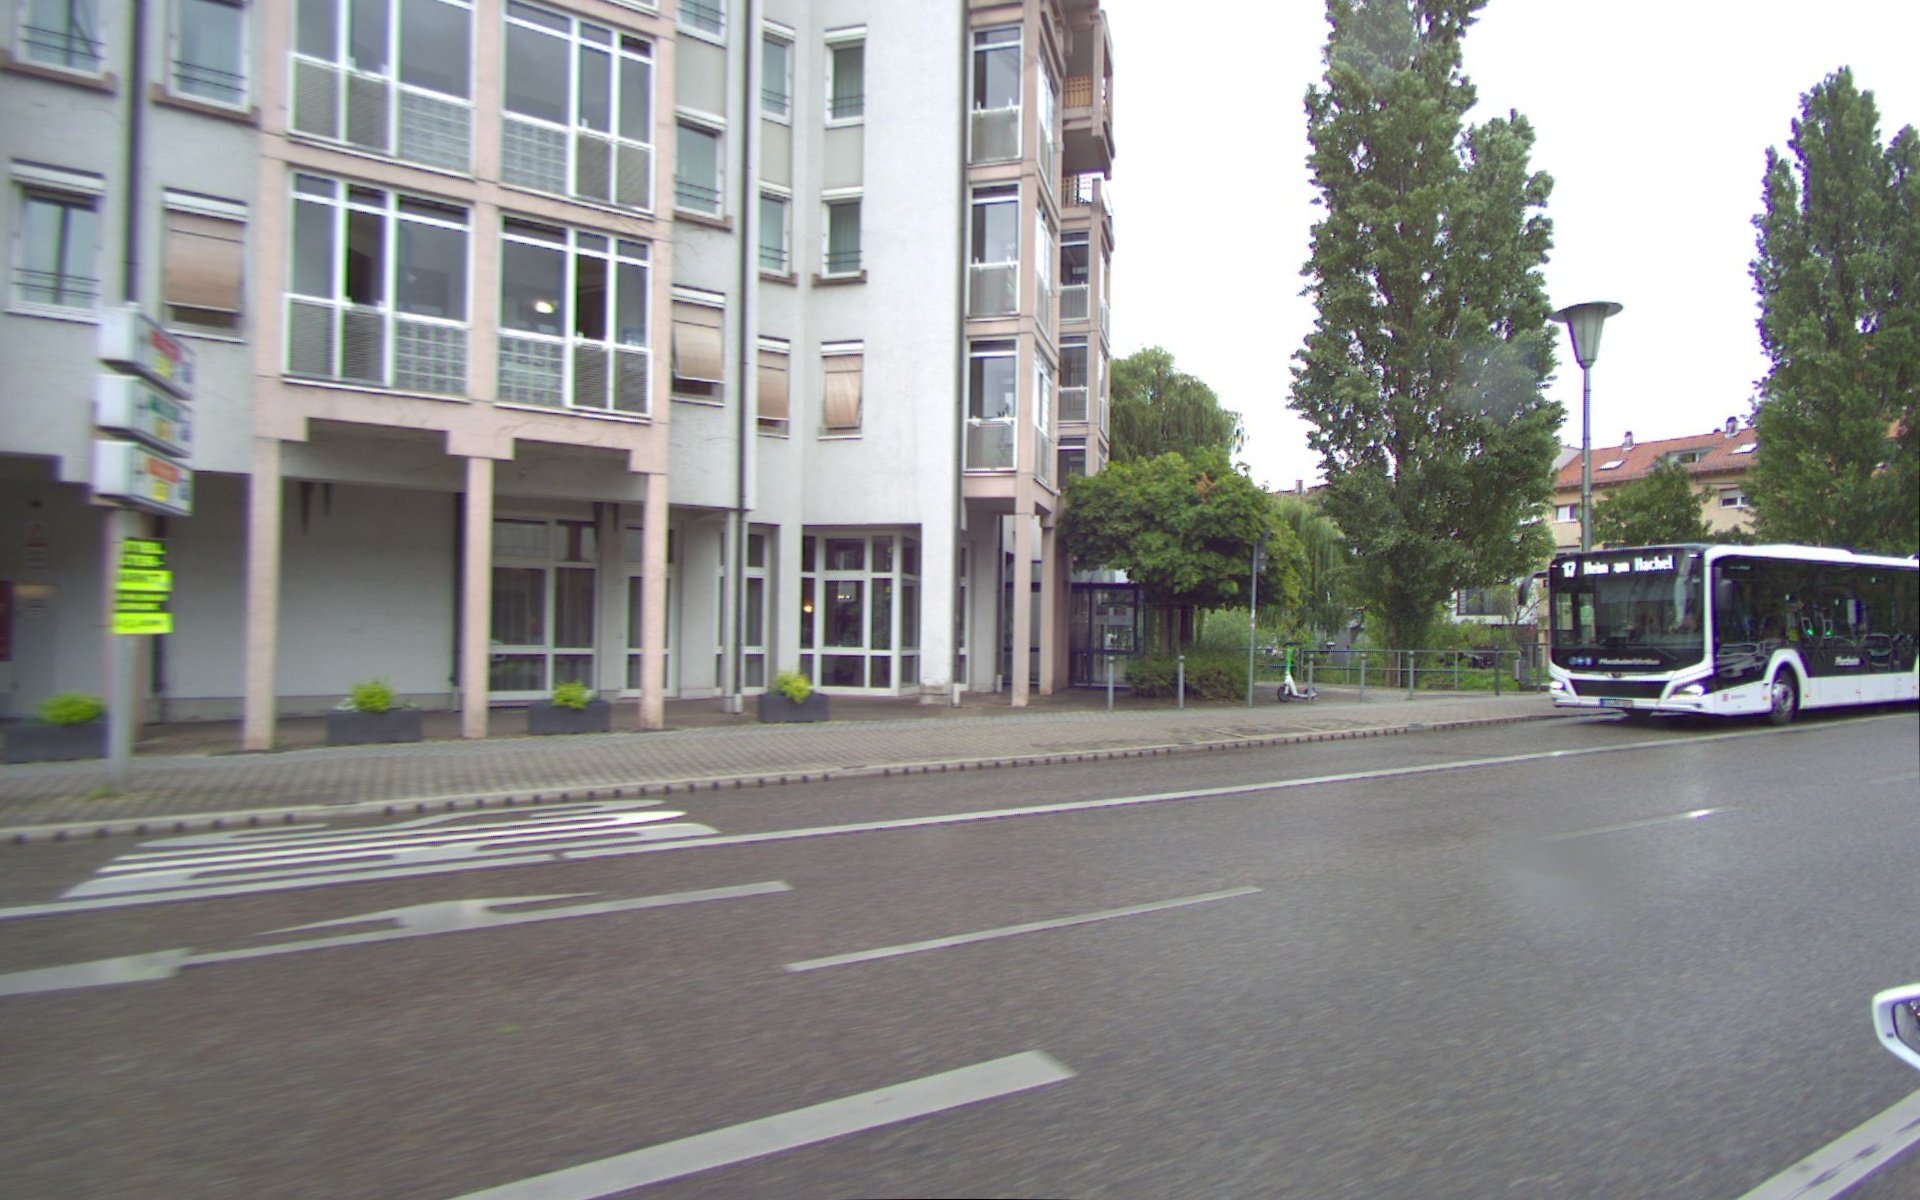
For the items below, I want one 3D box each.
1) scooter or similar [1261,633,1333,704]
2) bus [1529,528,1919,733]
[{"bbox_3d":[6.722,1.338,20.007,1.555,1.331,0.479,-1,0,-34],"label":"scooter or similar"},{"bbox_3d":[15.913,0.503,19.443,12.088,3.116,2.732,0,-1,-30],"label":"bus"}]
